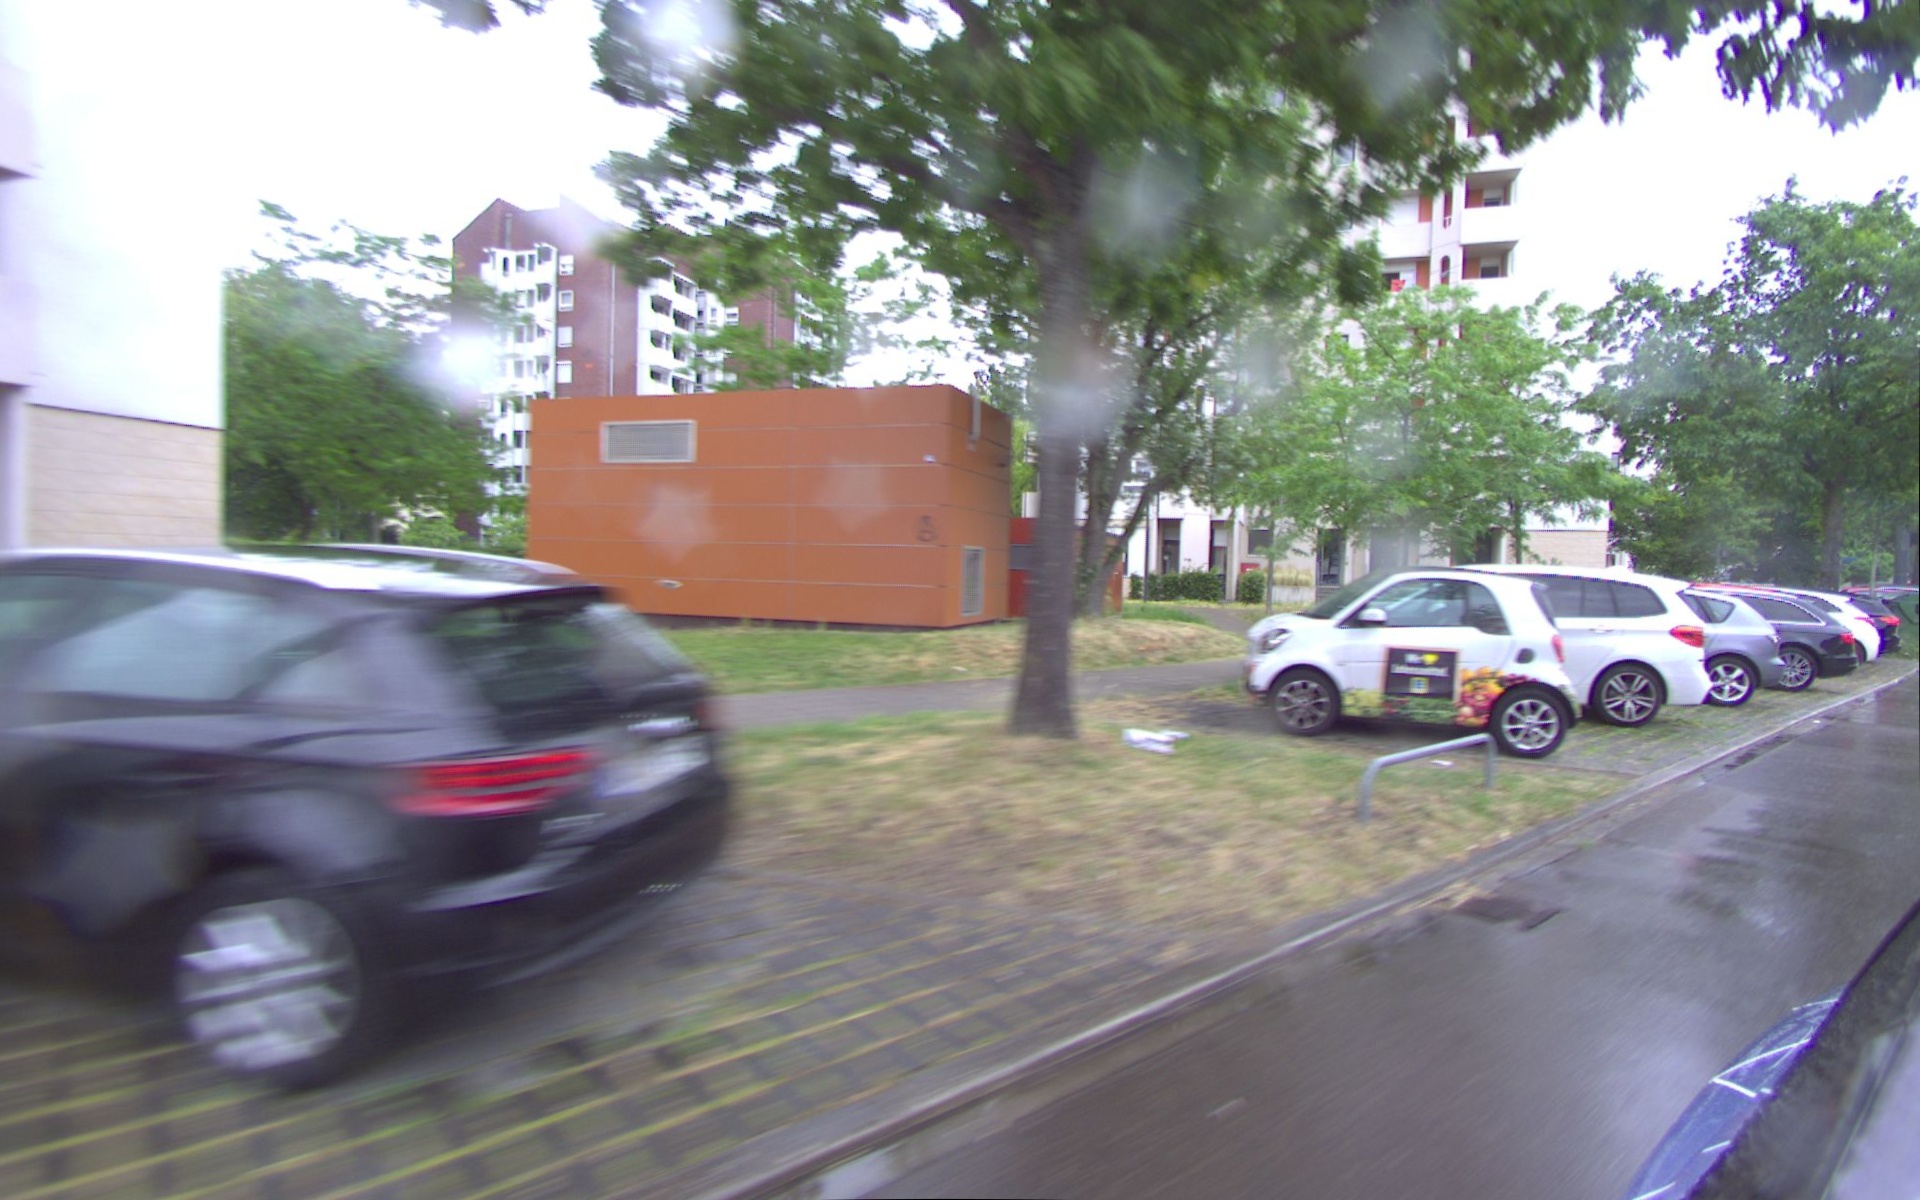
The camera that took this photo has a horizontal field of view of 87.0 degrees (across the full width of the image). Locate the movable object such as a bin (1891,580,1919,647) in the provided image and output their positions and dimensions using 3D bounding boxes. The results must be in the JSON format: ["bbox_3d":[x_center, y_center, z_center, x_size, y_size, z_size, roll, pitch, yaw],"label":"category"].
[{"bbox_3d":[23.669,0.326,24.590,1.152,1.581,1.363,1,2,26],"label":"movable object such as a bin"}]

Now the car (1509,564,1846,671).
[{"bbox_3d":[12.494,0.241,17.949,4.392,1.445,1.804,5,3,12],"label":"car"}]

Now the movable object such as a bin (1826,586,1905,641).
[{"bbox_3d":[22.739,0.317,25.437,0.981,1.329,1.183,0,2,11],"label":"movable object such as a bin"}]

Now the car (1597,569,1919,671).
[{"bbox_3d":[15.138,0.309,19.467,4.399,1.482,1.812,5,3,15],"label":"car"}]

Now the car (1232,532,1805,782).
[{"bbox_3d":[4.719,0.389,9.230,4.124,1.691,1.679,5,3,13],"label":"car"}]

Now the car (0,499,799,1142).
[{"bbox_3d":[-2.761,0.432,3.744,3.886,1.448,1.679,5,3,13],"label":"car"}]

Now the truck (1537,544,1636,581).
[{"bbox_3d":[42.446,-2.543,68.732,5.632,2.468,2.101,1,2,32],"label":"truck"}]

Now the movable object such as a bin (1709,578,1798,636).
[{"bbox_3d":[20.266,0.164,25.880,1.344,1.439,1.185,0,2,8],"label":"movable object such as a bin"}]

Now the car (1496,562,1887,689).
[{"bbox_3d":[10.881,0.309,15.452,4.400,1.445,1.677,5,3,16],"label":"car"}]

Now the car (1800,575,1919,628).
[{"bbox_3d":[32.024,0.035,35.137,3.987,1.706,1.718,2,2,14],"label":"car"}]

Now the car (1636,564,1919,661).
[{"bbox_3d":[17.369,0.201,21.635,4.403,1.560,1.676,5,5,18],"label":"car"}]

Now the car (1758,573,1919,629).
[{"bbox_3d":[29.314,0.009,33.557,3.988,1.506,1.718,4,3,14],"label":"car"}]

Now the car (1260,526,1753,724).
[{"bbox_3d":[5.828,0.185,11.393,4.391,1.691,1.808,5,3,10],"label":"car"}]

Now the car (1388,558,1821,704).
[{"bbox_3d":[8.257,0.311,13.448,4.398,1.427,1.760,5,3,15],"label":"car"}]
